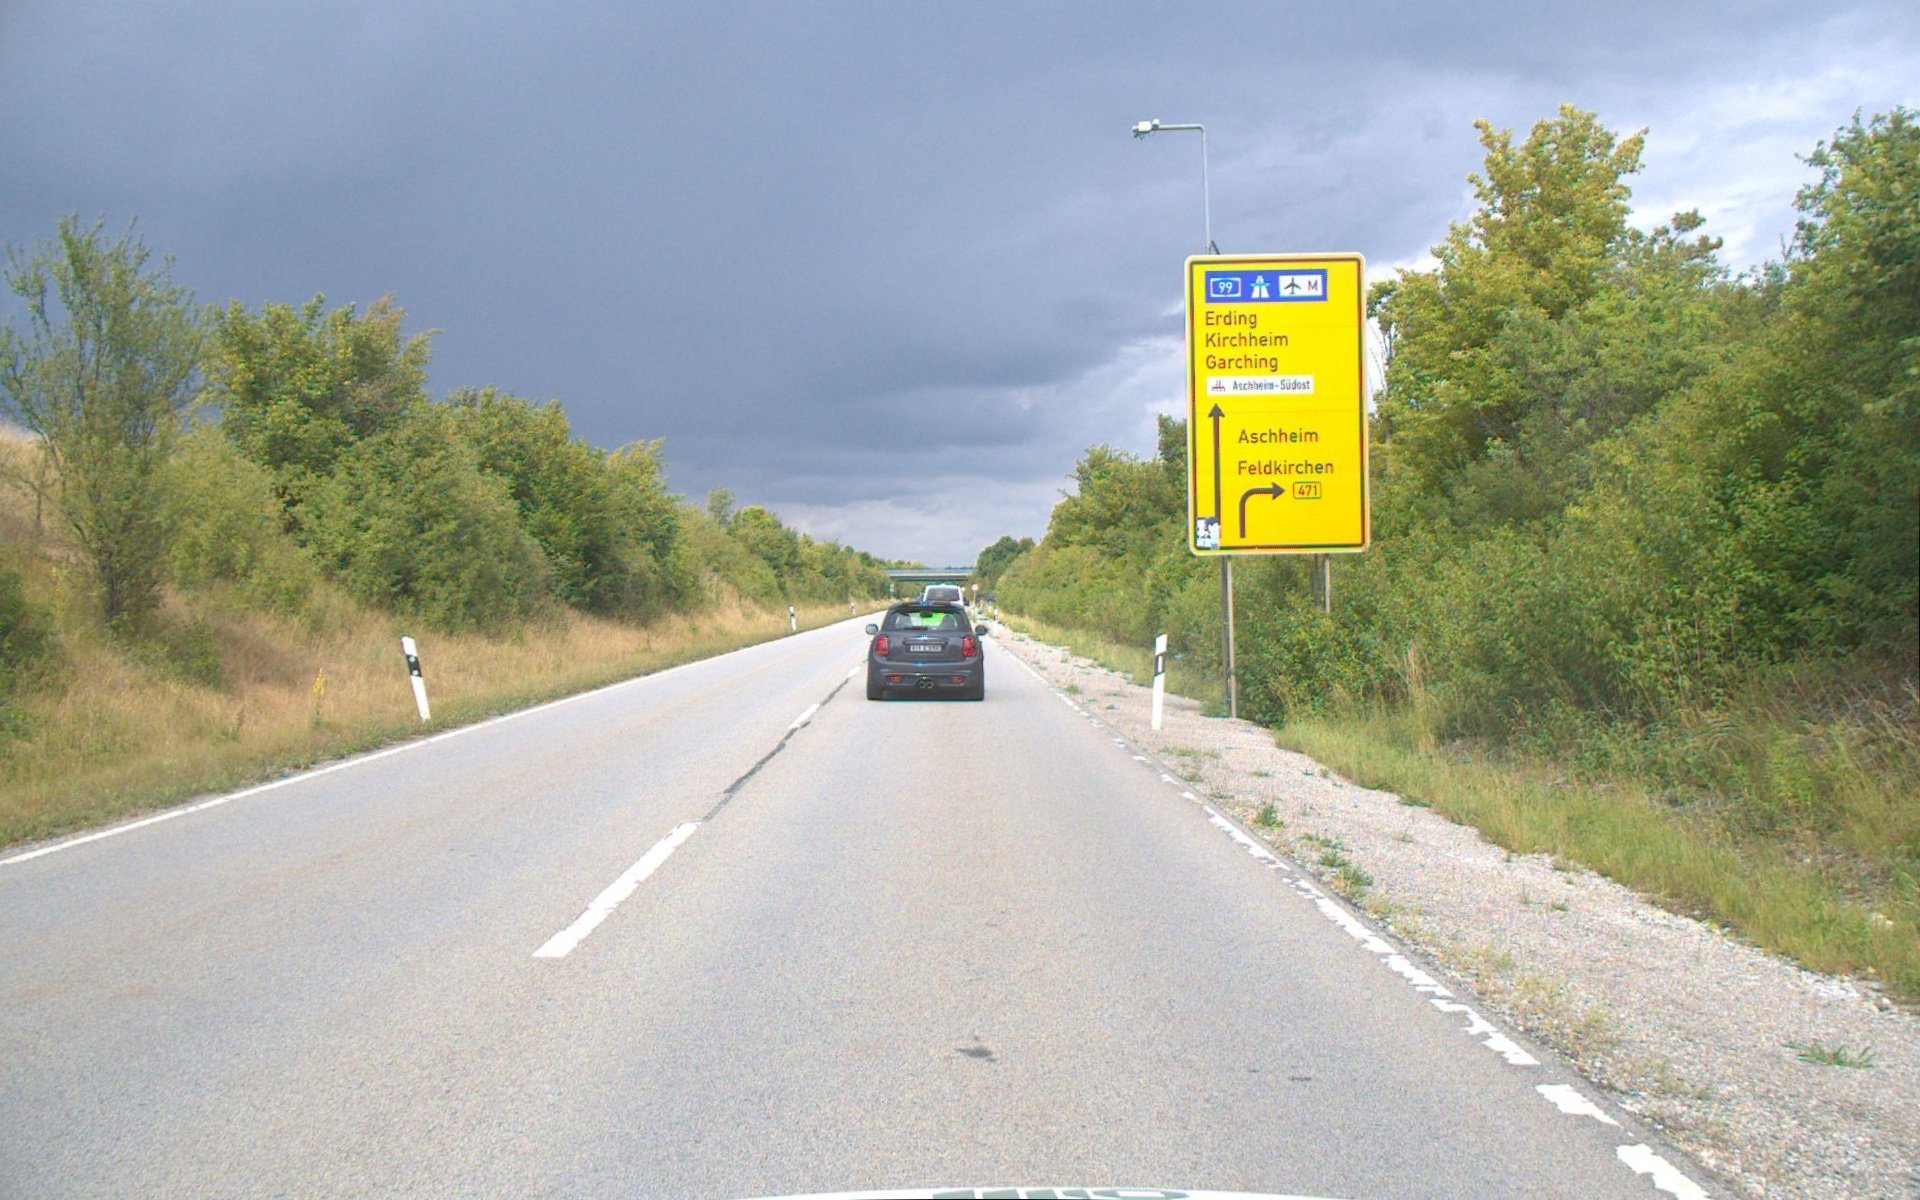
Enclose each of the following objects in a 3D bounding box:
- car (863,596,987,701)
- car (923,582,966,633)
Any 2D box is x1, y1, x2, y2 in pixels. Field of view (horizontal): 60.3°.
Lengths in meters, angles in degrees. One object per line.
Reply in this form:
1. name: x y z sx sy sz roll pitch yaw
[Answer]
1. car: -0.528 0.690 25.248 1.721 1.452 3.999 1 0 -1
2. car: -0.697 0.311 71.387 1.782 2.090 3.999 1 0 -1
